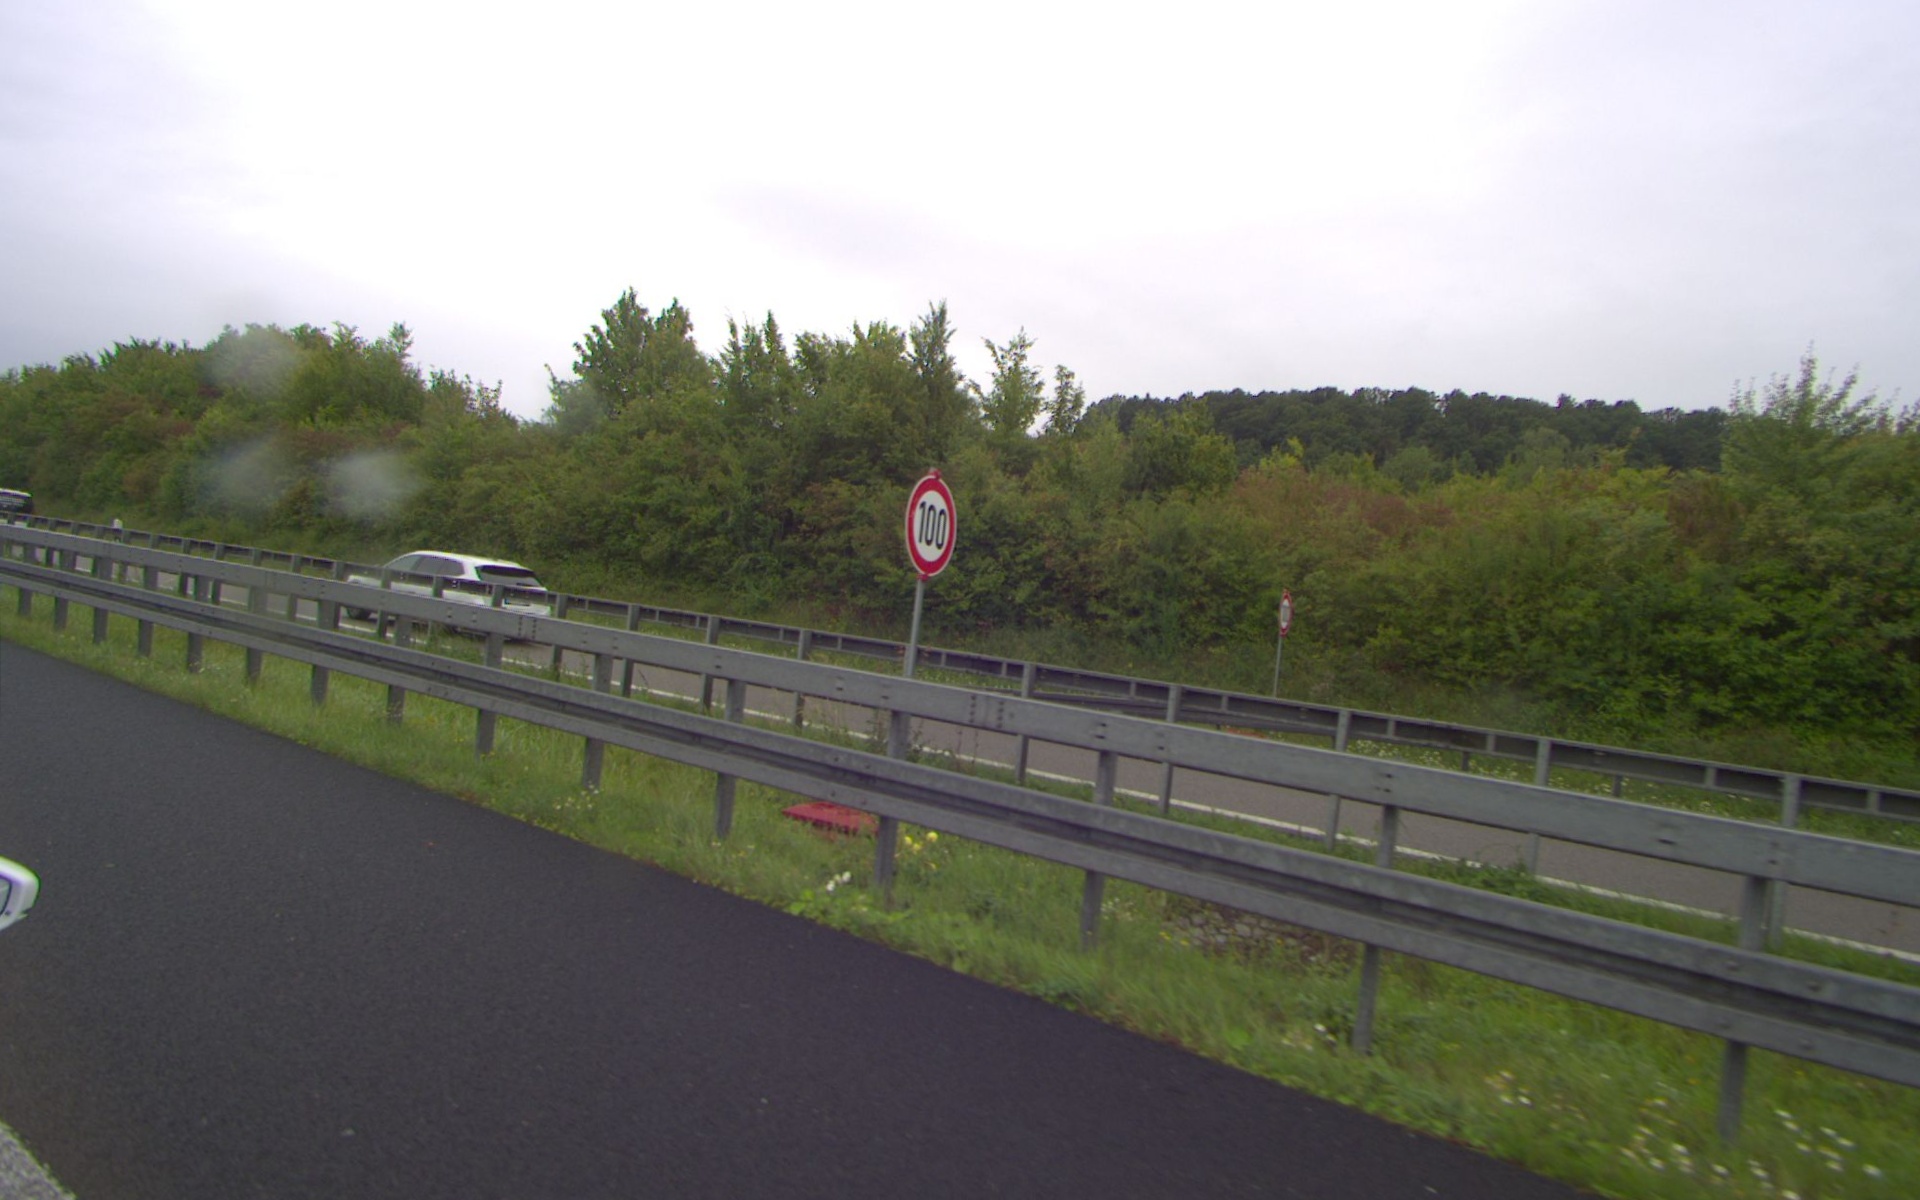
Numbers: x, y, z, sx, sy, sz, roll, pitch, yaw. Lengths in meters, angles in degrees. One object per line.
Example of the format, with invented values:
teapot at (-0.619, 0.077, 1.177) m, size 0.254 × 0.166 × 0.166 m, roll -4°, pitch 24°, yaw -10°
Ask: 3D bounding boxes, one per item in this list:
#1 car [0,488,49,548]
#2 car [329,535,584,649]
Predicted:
car at (-33.171, -2.941, 34.233) m, size 4.570 × 1.826 × 1.863 m, roll 7°, pitch -1°, yaw 31°
car at (-9.615, -0.170, 19.147) m, size 4.616 × 1.566 × 2.012 m, roll 7°, pitch -1°, yaw 30°
